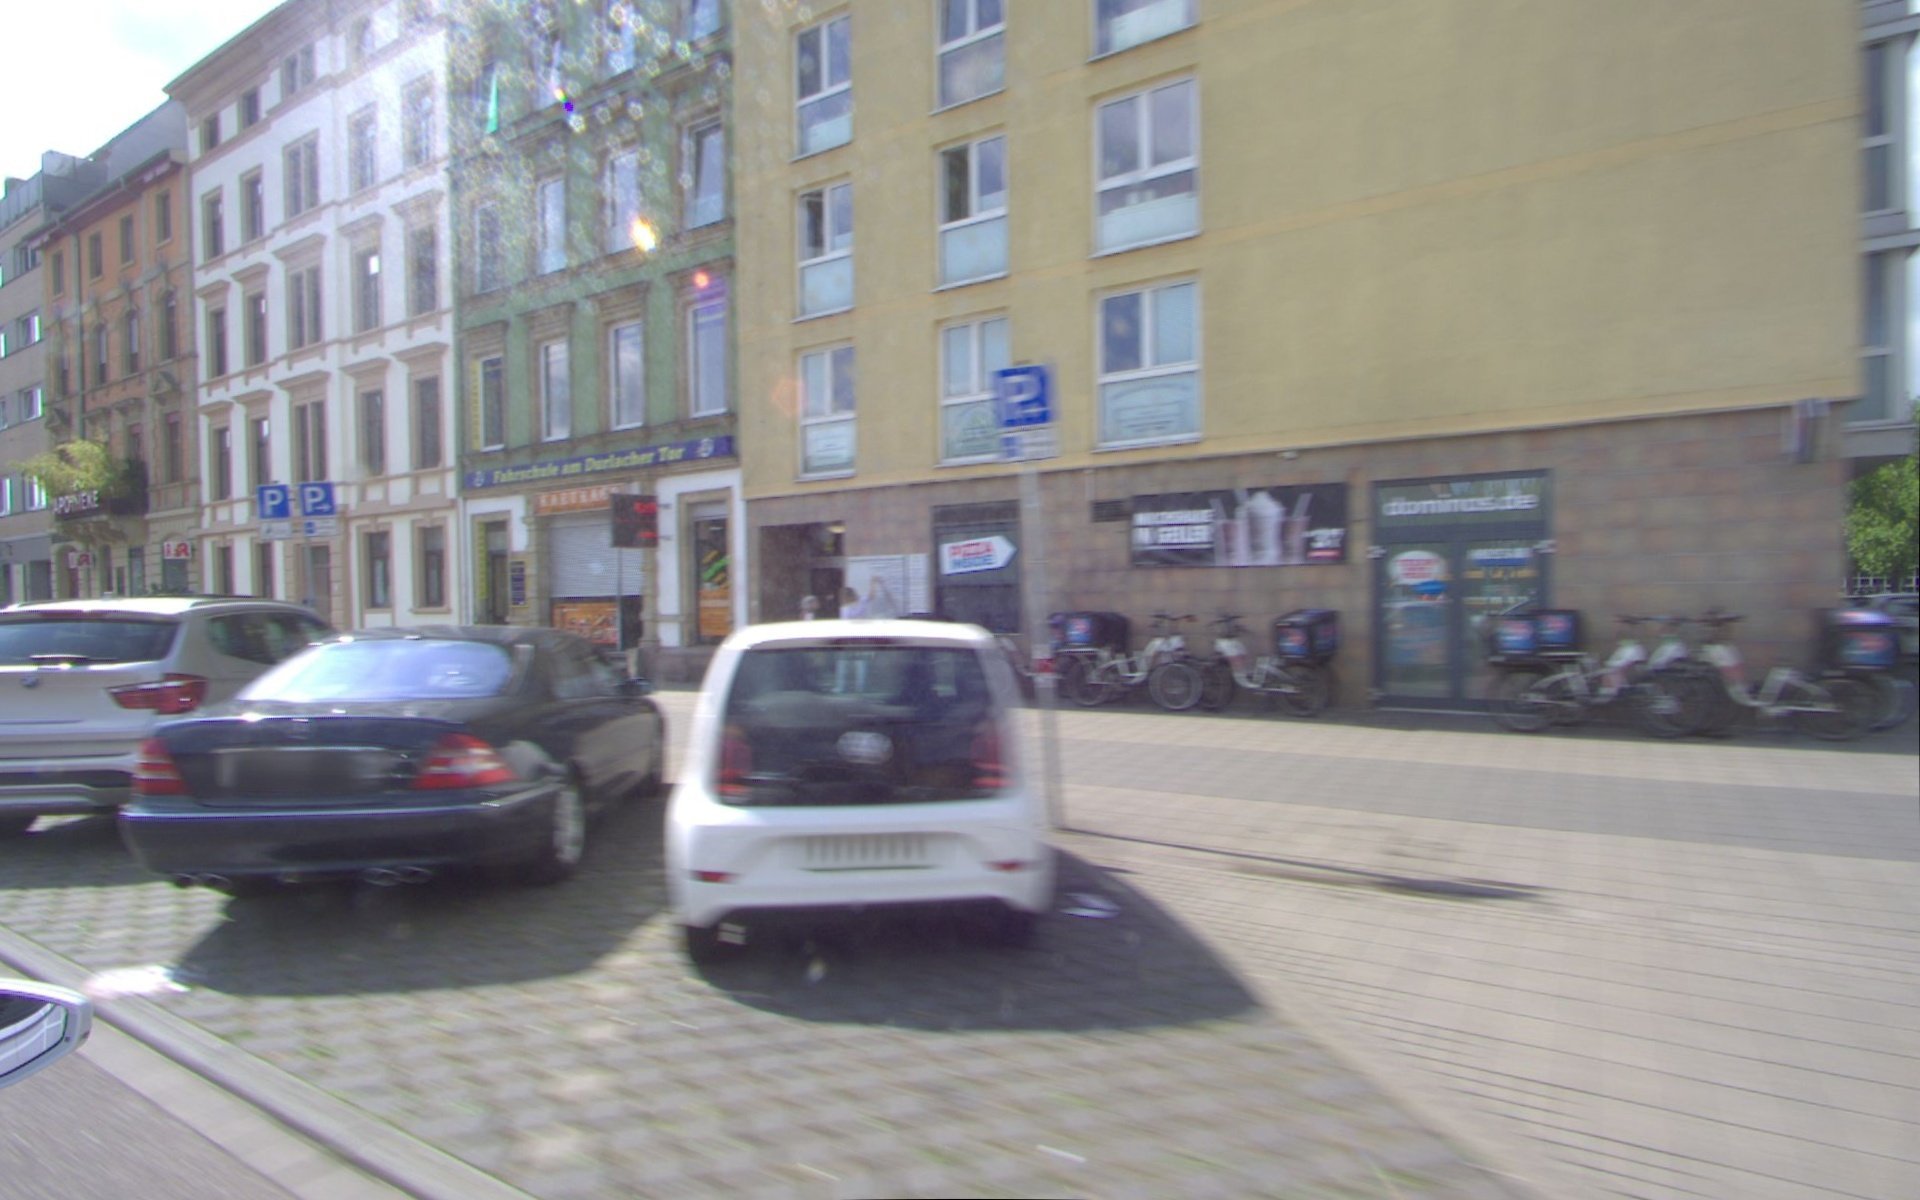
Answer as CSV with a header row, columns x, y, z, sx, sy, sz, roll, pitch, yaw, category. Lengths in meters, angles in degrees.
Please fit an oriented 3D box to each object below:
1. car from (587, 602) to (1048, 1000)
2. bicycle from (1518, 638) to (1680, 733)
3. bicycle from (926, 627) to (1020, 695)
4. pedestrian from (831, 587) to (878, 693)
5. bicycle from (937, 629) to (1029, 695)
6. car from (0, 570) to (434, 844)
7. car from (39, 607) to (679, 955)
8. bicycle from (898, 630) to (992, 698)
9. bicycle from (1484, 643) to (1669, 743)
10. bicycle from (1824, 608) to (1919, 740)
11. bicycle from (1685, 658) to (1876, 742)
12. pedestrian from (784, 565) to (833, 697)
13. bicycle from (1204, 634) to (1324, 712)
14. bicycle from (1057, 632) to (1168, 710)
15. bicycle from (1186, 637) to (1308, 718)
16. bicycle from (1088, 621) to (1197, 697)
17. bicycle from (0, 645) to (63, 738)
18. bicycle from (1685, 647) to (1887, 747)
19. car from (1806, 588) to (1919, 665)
x,y,z,sx,sy,sz,roll,pitch,yaw,category
-0.747,0.790,5.597,1.745,1.472,3.496,-1,-1,-7,car
6.760,0.889,10.650,1.430,0.935,0.292,0,1,28,bicycle
0.177,0.900,14.948,1.442,0.935,0.292,1,2,31,bicycle
-1.694,0.621,16.073,0.454,1.642,0.599,2,5,33,pedestrian
0.341,0.922,15.221,1.442,0.935,0.292,0,1,31,bicycle
-6.308,0.657,8.342,2.023,1.669,4.592,-1,0,-9,car
-3.239,0.806,6.674,1.902,1.479,4.599,0,-1,-6,car
-0.233,0.918,14.673,1.442,0.935,0.292,0,1,31,bicycle
6.303,0.932,10.308,1.585,0.935,0.292,0,1,24,bicycle
9.610,0.712,10.492,0.471,1.218,2.184,2,2,32,bicycle
8.087,0.970,9.927,1.431,0.748,0.292,0,1,30,bicycle
-2.414,0.479,15.953,0.454,2.041,0.600,2,2,33,pedestrian
3.852,0.908,12.737,1.444,0.935,0.291,0,1,34,bicycle
2.001,0.923,13.242,1.442,0.935,0.292,1,2,31,bicycle
3.549,0.937,12.432,1.444,0.935,0.291,0,1,34,bicycle
2.471,0.779,13.623,1.443,0.935,0.291,2,2,34,bicycle
-12.168,1.114,12.246,0.603,1.109,1.631,2,-2,31,bicycle
7.821,0.904,9.547,1.443,0.895,0.292,-2,0,31,bicycle
20.326,0.560,20.708,4.035,1.535,1.799,2,1,32,car
